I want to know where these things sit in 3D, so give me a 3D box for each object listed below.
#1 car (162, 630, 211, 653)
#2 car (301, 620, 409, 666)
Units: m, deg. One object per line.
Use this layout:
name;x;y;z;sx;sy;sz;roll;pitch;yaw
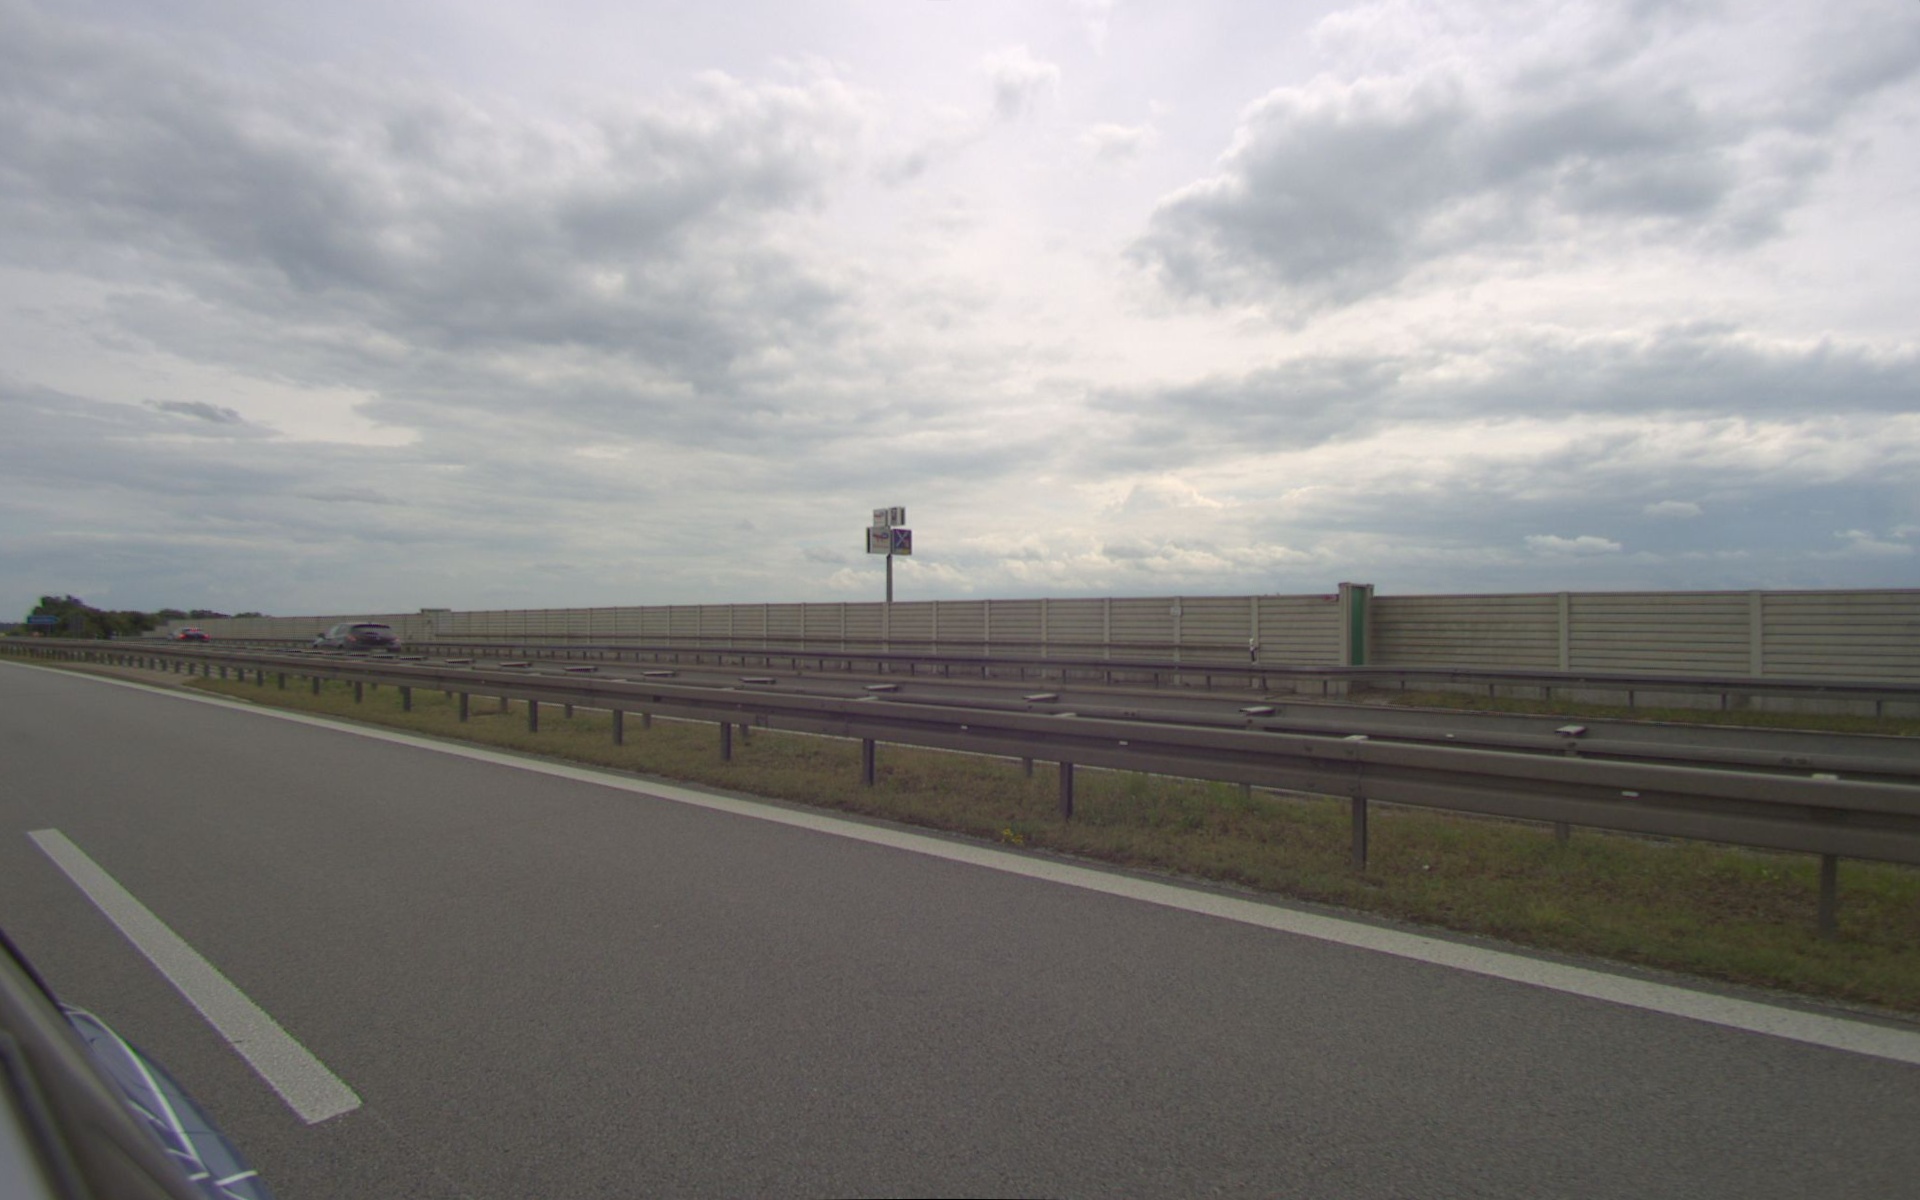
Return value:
car;-52.615;2.827;68.815;4.564;1.506;1.686;-2;-3;41
car;-20.950;1.480;34.971;4.681;1.384;1.777;-2;-7;41
